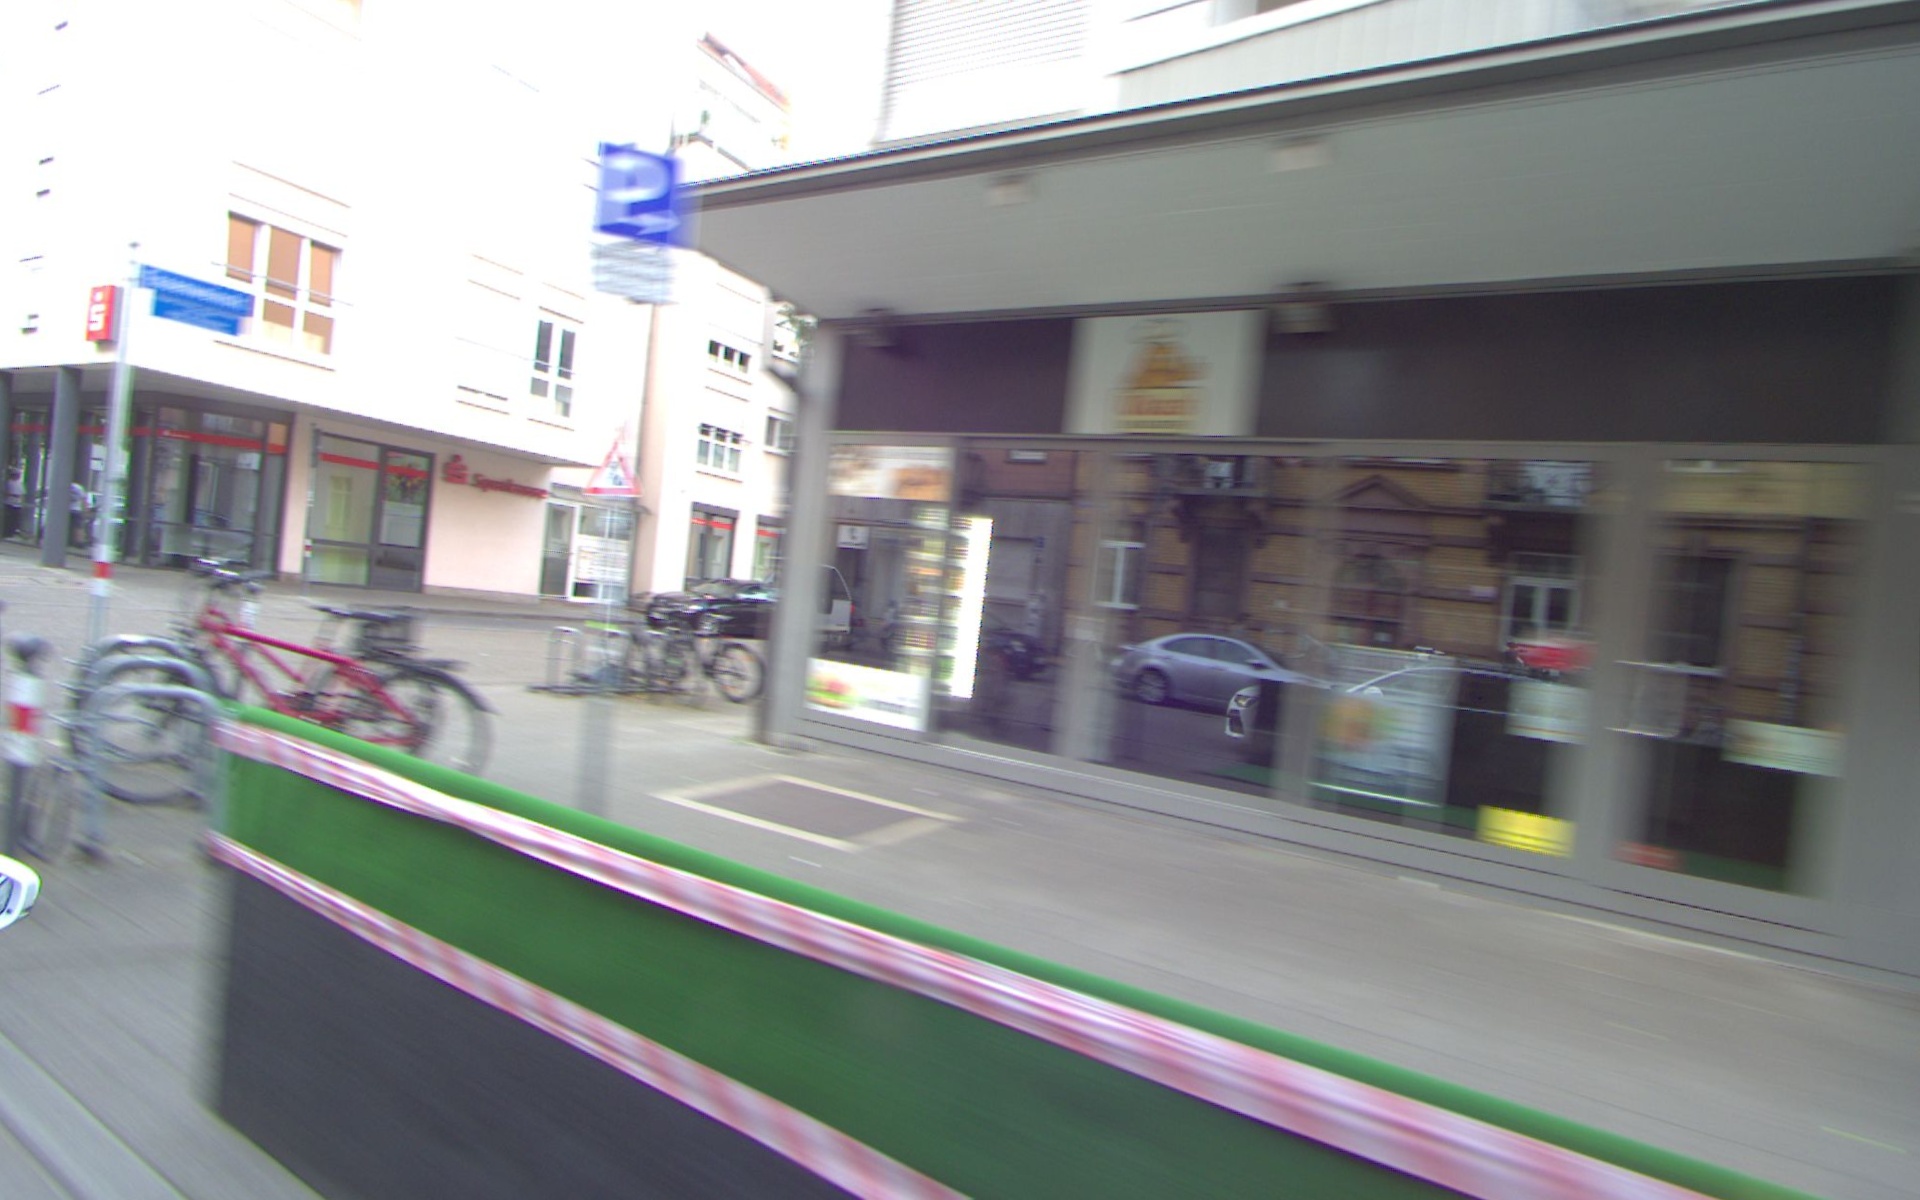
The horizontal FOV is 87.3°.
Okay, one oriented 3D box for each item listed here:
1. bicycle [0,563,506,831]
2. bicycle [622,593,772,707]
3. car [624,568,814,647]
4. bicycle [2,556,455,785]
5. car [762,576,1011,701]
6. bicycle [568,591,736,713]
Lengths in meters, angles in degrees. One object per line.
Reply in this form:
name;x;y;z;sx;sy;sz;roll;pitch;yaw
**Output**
bicycle;-3.344;0.477;4.977;1.917;1.149;0.653;4;2;-23
bicycle;-2.922;0.528;11.082;1.730;1.080;0.562;4;0;36
car;-5.725;0.233;24.367;1.764;1.451;4.233;9;2;36
bicycle;-3.994;0.409;5.693;1.917;1.149;0.653;4;2;-23
car;-0.936;0.603;14.656;1.678;1.493;3.671;5;-1;32
bicycle;-3.242;0.512;10.484;1.934;1.080;0.562;4;0;36
